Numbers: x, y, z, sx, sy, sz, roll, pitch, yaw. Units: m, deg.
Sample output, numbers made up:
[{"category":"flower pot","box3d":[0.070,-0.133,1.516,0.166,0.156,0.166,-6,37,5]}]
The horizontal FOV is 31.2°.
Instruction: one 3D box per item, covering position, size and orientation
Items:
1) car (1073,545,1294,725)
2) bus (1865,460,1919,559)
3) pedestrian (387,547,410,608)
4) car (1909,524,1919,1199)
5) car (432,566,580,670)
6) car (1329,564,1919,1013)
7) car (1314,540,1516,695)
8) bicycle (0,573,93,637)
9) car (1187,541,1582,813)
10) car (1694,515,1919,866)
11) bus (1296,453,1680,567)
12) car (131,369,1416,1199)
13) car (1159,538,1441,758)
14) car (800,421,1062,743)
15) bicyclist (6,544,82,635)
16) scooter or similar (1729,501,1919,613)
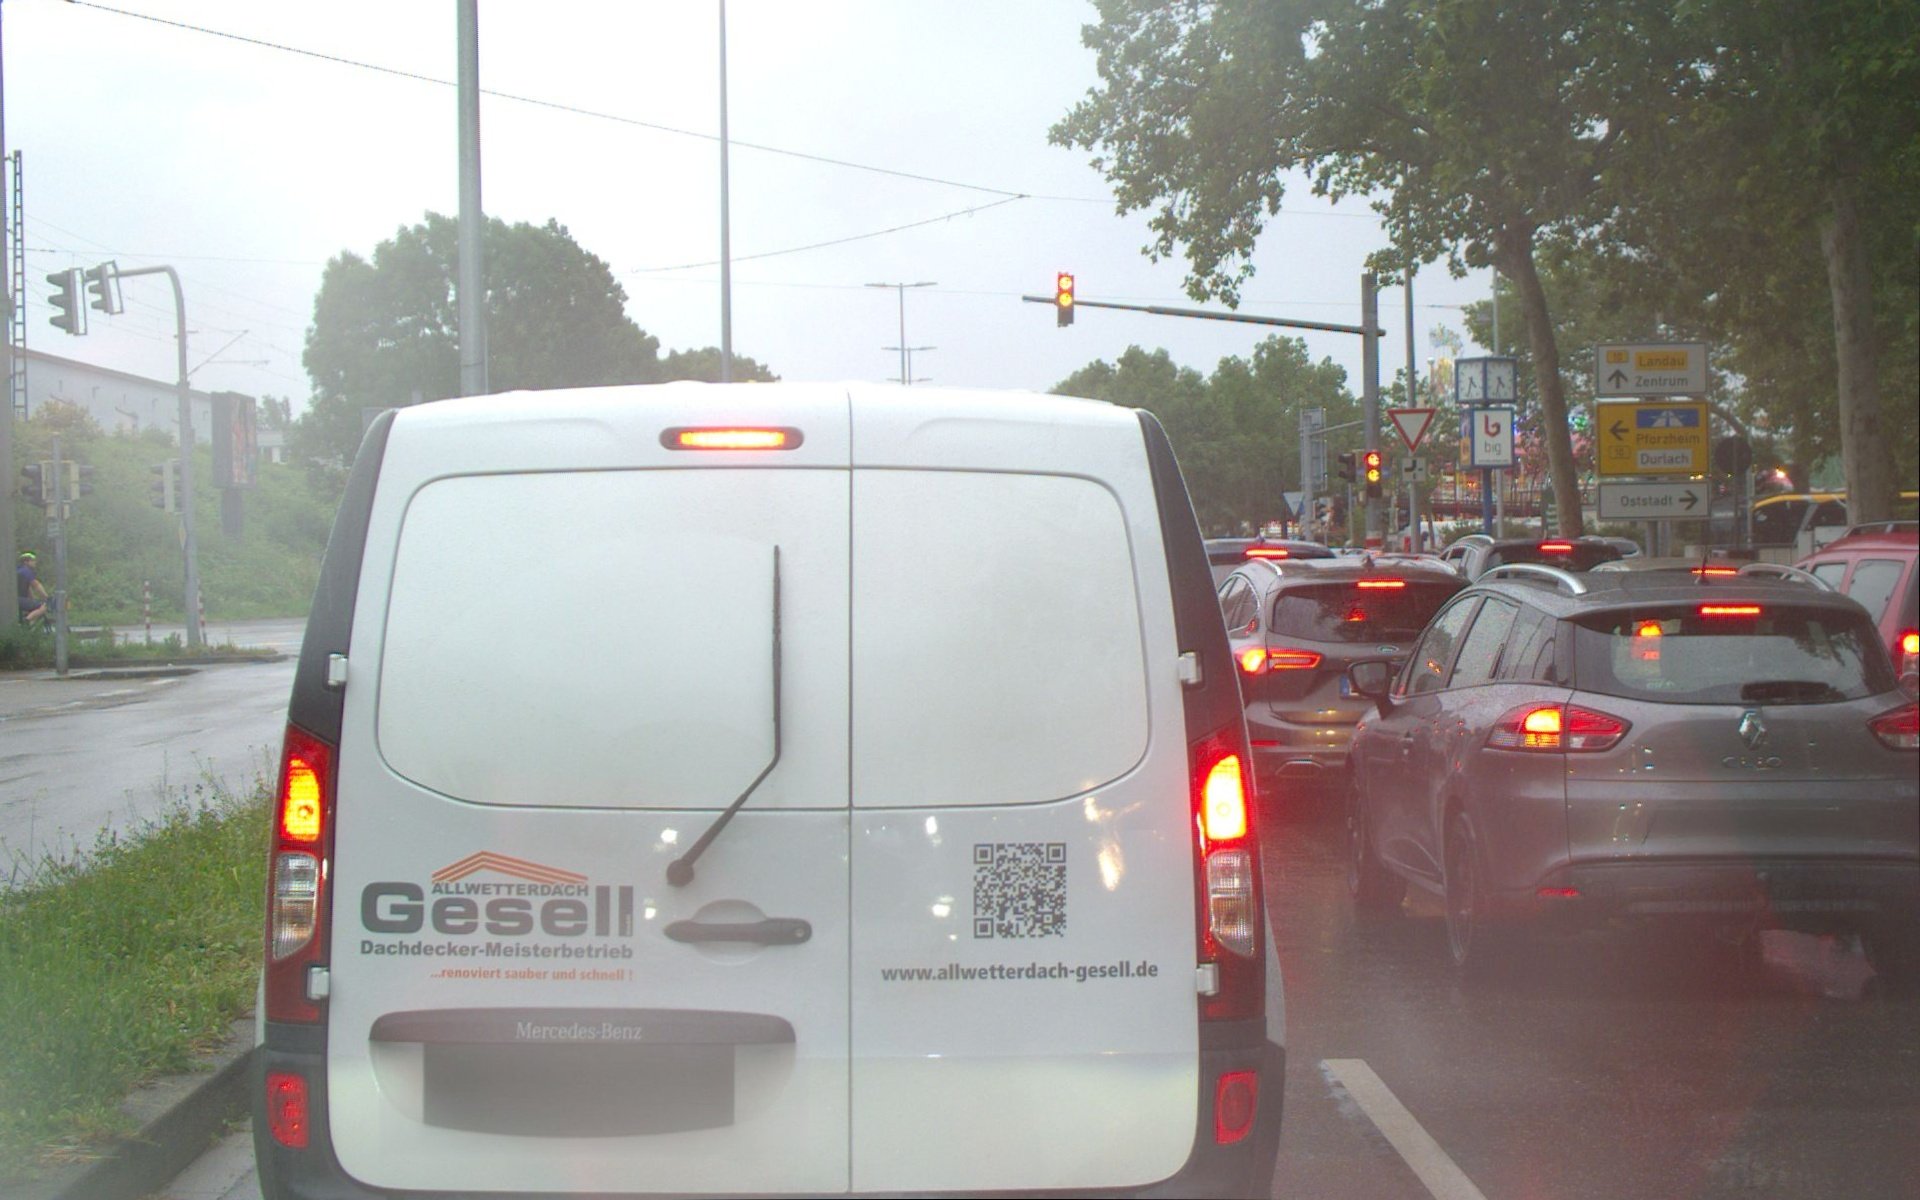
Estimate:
[{"category":"car","box3d":[2.119,0.300,33.519,1.854,1.644,3.843,0,1,-1]},{"category":"bus","box3d":[37.560,-3.326,122.723,11.971,3.411,2.483,-2,2,-31]},{"category":"pedestrian","box3d":[-15.707,-0.631,96.165,0.543,1.710,0.563,1,0,-4]},{"category":"car","box3d":[2.981,0.648,5.404,1.747,1.549,4.091,0,1,-1]},{"category":"car","box3d":[-7.084,0.256,53.985,1.816,1.457,4.000,-3,1,-1]},{"category":"car","box3d":[2.503,0.594,13.082,1.683,1.403,3.843,1,1,-1]},{"category":"car","box3d":[5.059,0.171,38.628,1.708,1.644,3.843,0,1,-1]},{"category":"bicycle","box3d":[-14.827,0.068,55.563,1.040,0.949,2.889,-2,2,-25]},{"category":"car","box3d":[2.436,0.387,20.627,1.854,1.455,3.843,0,1,-1]},{"category":"car","box3d":[5.341,0.434,18.693,1.710,1.688,4.272,1,0,-1]},{"category":"bus","box3d":[16.963,-2.901,110.871,11.970,3.411,2.315,-1,1,0]},{"category":"car","box3d":[-0.312,0.480,7.646,1.993,1.770,4.585,0,1,-1]},{"category":"car","box3d":[2.677,0.327,27.855,1.854,1.644,3.843,0,1,-1]},{"category":"car","box3d":[-0.229,-0.168,26.389,1.854,2.288,3.843,0,1,-1]},{"category":"bicyclist","box3d":[-14.768,-0.176,55.449,1.040,1.445,0.729,-2,2,-25]},{"category":"scooter or similar","box3d":[19.990,-0.973,77.057,1.890,2.437,5.316,-1,1,-41]}]
